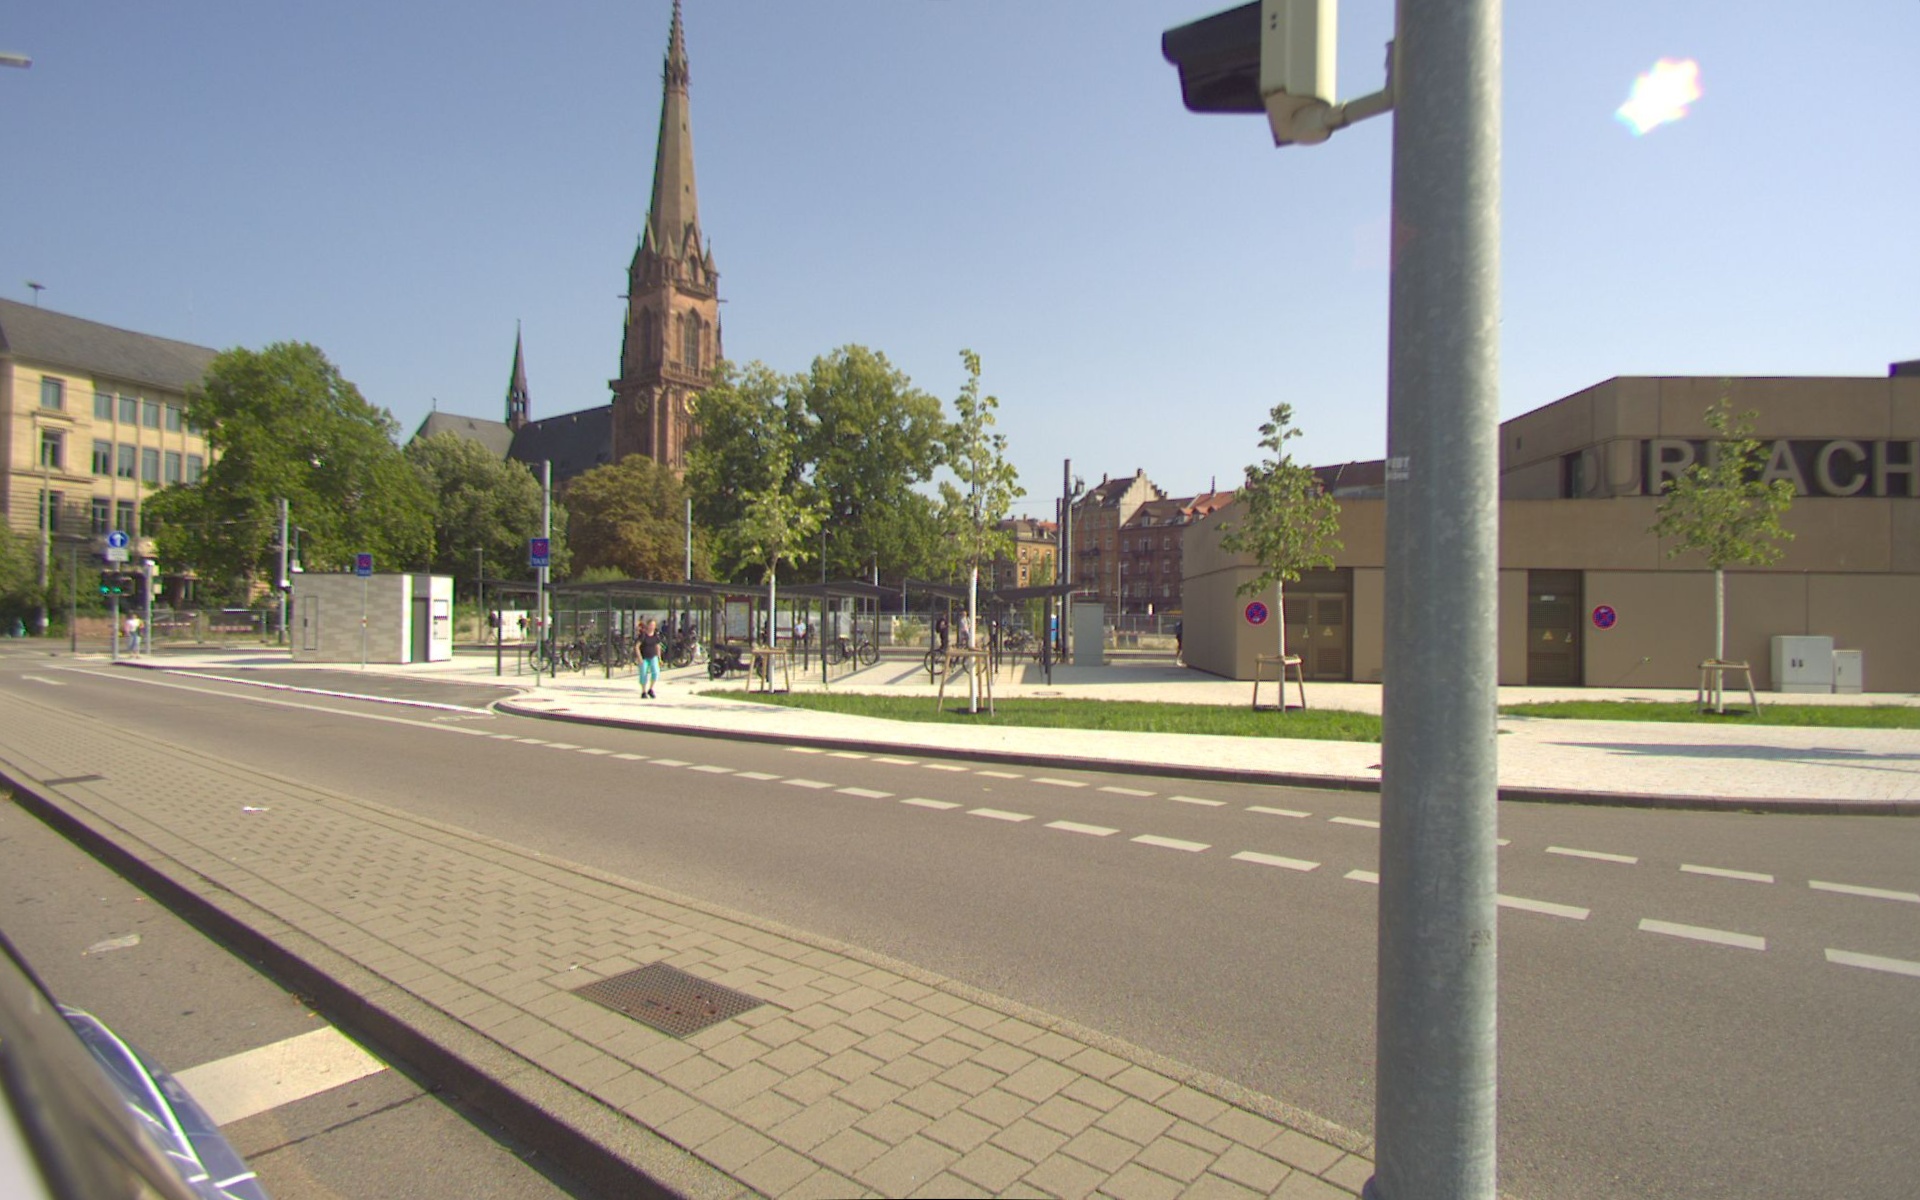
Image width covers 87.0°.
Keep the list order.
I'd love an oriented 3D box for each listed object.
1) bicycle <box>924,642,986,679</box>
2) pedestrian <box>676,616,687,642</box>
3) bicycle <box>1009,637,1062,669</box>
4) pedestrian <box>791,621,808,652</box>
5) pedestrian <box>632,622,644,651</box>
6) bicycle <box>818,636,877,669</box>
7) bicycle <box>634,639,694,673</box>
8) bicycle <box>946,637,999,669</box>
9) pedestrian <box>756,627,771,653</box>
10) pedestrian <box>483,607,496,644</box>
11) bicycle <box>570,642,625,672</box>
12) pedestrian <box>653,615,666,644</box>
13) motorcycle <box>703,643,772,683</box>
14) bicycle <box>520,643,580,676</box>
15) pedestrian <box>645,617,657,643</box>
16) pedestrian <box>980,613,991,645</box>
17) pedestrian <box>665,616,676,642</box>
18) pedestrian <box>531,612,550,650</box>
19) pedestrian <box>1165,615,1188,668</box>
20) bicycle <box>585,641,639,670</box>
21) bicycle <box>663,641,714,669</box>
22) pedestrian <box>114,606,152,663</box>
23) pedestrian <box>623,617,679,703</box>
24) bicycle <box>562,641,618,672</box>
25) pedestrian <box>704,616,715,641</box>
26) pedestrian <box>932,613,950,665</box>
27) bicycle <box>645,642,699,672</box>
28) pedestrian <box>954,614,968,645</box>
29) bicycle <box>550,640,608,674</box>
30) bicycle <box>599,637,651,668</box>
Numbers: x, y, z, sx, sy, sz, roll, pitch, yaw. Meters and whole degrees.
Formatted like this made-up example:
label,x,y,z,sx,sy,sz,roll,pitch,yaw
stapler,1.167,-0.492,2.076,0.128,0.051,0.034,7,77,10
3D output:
label,x,y,z,sx,sy,sz,roll,pitch,yaw
bicycle,-0.139,1.703,28.781,1.724,1.017,0.400,0,-1,6
pedestrian,-13.490,1.391,48.981,0.378,1.233,0.439,-1,0,7
bicycle,2.501,1.762,33.524,1.722,1.028,0.473,0,-1,5
pedestrian,-7.443,1.696,46.850,0.635,1.405,0.661,0,-1,3
pedestrian,-15.494,1.754,48.722,0.410,1.328,0.392,-1,0,10
bicycle,-3.635,1.703,32.813,1.852,1.017,0.461,0,-1,6
bicycle,-9.039,1.710,30.911,1.692,0.994,0.532,0,-1,6
bicycle,0.423,1.770,33.945,1.724,1.017,0.400,0,-1,6
pedestrian,-9.119,1.854,47.070,0.567,1.206,0.467,0,-1,7
pedestrian,-21.970,1.180,47.283,0.510,1.720,0.505,2,-1,-26
bicycle,-11.135,1.738,31.066,1.569,0.899,0.409,0,-1,6
pedestrian,-14.181,1.386,47.700,0.429,1.328,0.439,-1,0,7
motorcycle,-5.903,1.673,26.874,1.724,1.017,0.542,0,-1,6
bicycle,-11.537,1.670,28.501,1.569,0.899,0.400,0,-1,6
pedestrian,-14.905,1.448,48.761,0.378,1.233,0.439,-1,0,7
pedestrian,1.159,1.307,45.951,0.464,1.432,0.568,-1,0,7
pedestrian,-14.116,1.426,49.338,0.378,1.233,0.439,-1,0,7
pedestrian,-19.823,1.467,47.774,0.388,1.762,0.708,-1,-2,38
pedestrian,7.438,1.409,34.765,0.649,1.783,0.474,0,-2,30
bicycle,-11.047,1.754,32.137,1.569,0.899,0.400,0,-1,6
bicycle,-8.909,1.802,33.236,1.569,0.899,0.409,0,-1,6
pedestrian,-30.102,1.256,36.849,0.725,2.029,0.712,0,-1,8
pedestrian,-5.835,1.128,19.132,0.662,1.577,0.748,0,-3,22
bicycle,-11.152,1.707,30.520,1.569,0.899,0.400,0,-1,6
pedestrian,-12.174,1.379,49.160,0.378,1.233,0.439,-1,0,7
pedestrian,-0.669,1.371,35.669,0.584,1.815,0.333,0,-1,1
bicycle,-9.043,1.778,31.804,1.569,0.899,0.409,0,-1,6
pedestrian,0.050,1.351,46.617,0.562,1.432,0.468,-1,0,7
bicycle,-11.198,1.673,29.782,1.569,0.974,0.421,0,-1,6
bicycle,-11.060,1.719,33.417,1.569,0.985,0.451,0,0,6
